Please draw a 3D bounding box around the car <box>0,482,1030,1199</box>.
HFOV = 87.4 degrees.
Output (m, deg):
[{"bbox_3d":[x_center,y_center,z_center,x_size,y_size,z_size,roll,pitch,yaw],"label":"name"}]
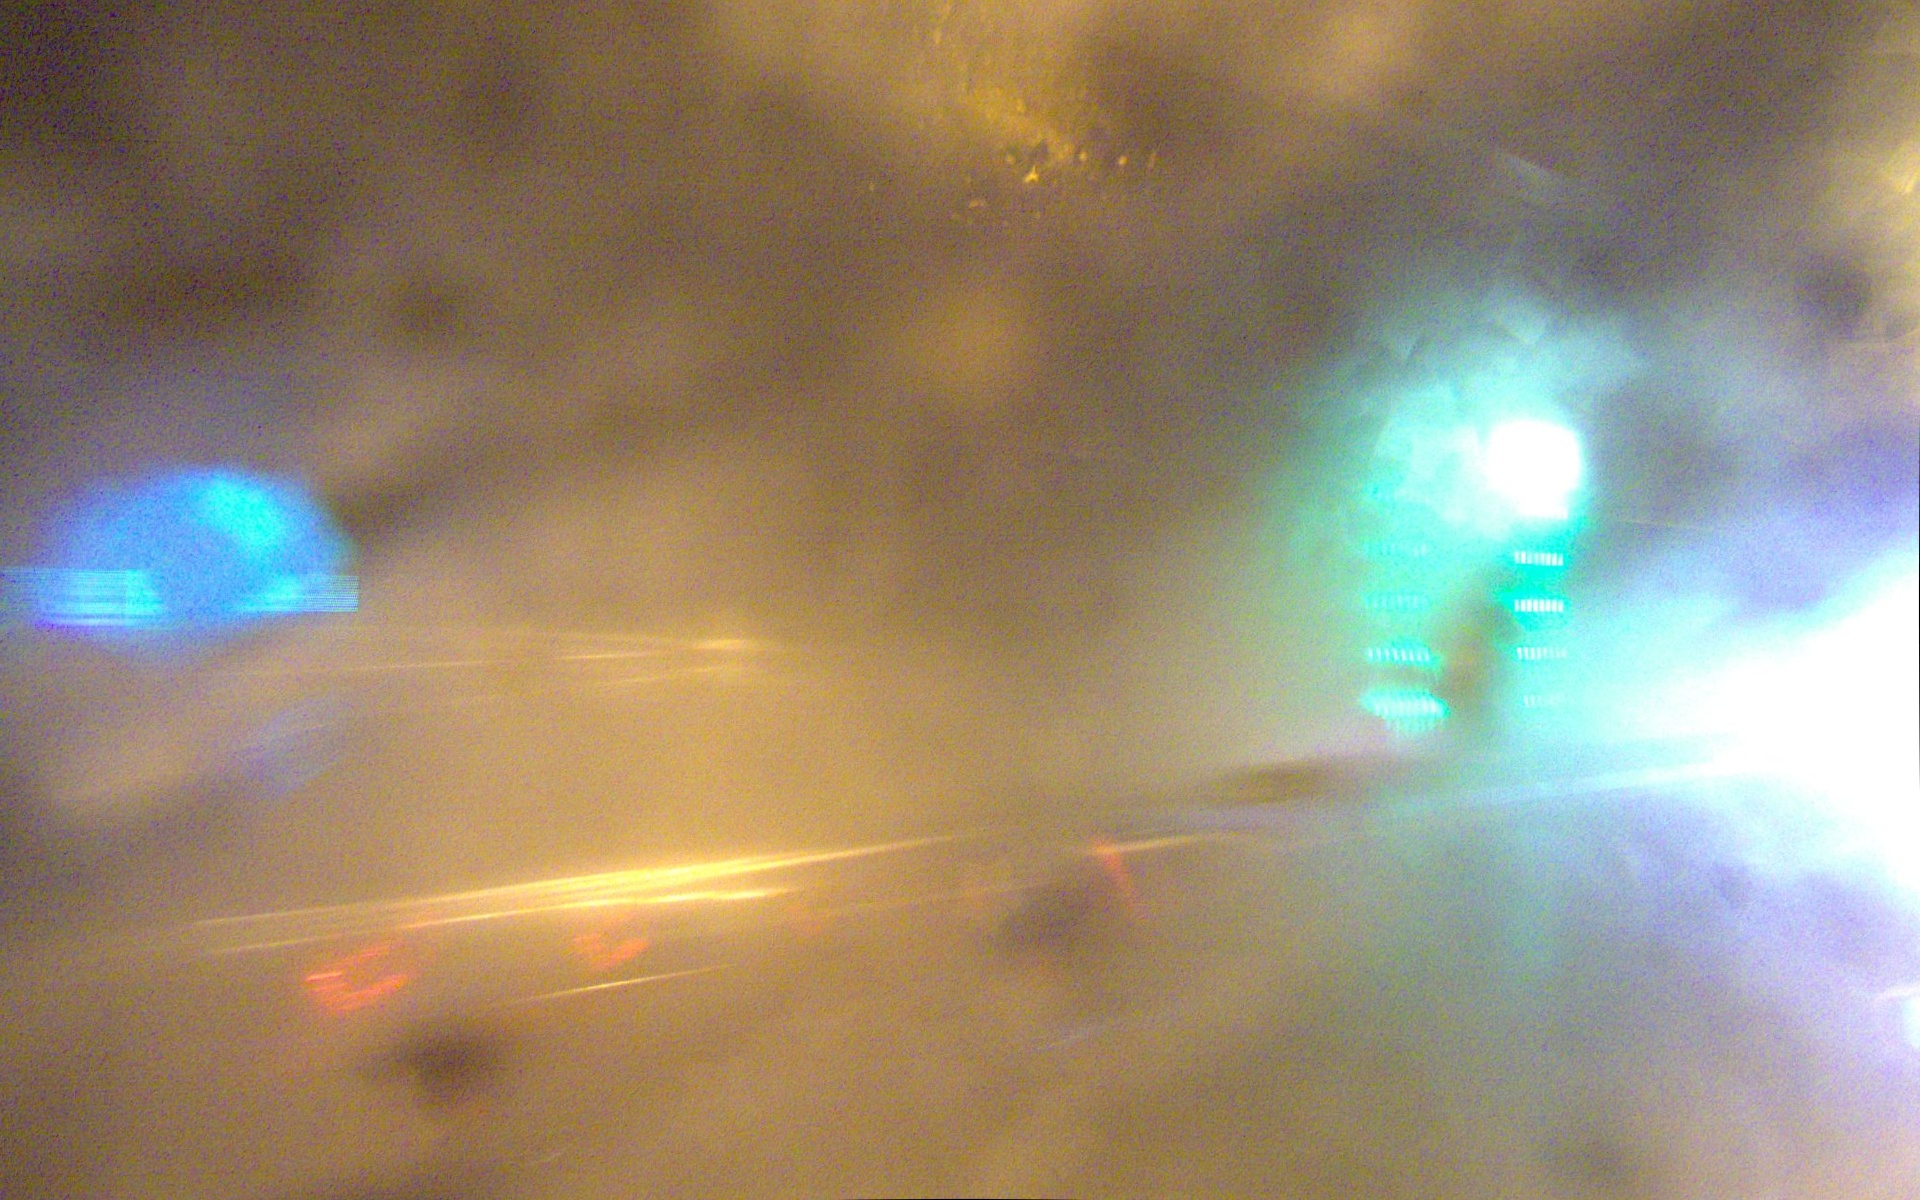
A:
[{"bbox_3d":[-2.214,0.602,1.511,4.422,1.500,1.741,1,-1,-30],"label":"car"}]
